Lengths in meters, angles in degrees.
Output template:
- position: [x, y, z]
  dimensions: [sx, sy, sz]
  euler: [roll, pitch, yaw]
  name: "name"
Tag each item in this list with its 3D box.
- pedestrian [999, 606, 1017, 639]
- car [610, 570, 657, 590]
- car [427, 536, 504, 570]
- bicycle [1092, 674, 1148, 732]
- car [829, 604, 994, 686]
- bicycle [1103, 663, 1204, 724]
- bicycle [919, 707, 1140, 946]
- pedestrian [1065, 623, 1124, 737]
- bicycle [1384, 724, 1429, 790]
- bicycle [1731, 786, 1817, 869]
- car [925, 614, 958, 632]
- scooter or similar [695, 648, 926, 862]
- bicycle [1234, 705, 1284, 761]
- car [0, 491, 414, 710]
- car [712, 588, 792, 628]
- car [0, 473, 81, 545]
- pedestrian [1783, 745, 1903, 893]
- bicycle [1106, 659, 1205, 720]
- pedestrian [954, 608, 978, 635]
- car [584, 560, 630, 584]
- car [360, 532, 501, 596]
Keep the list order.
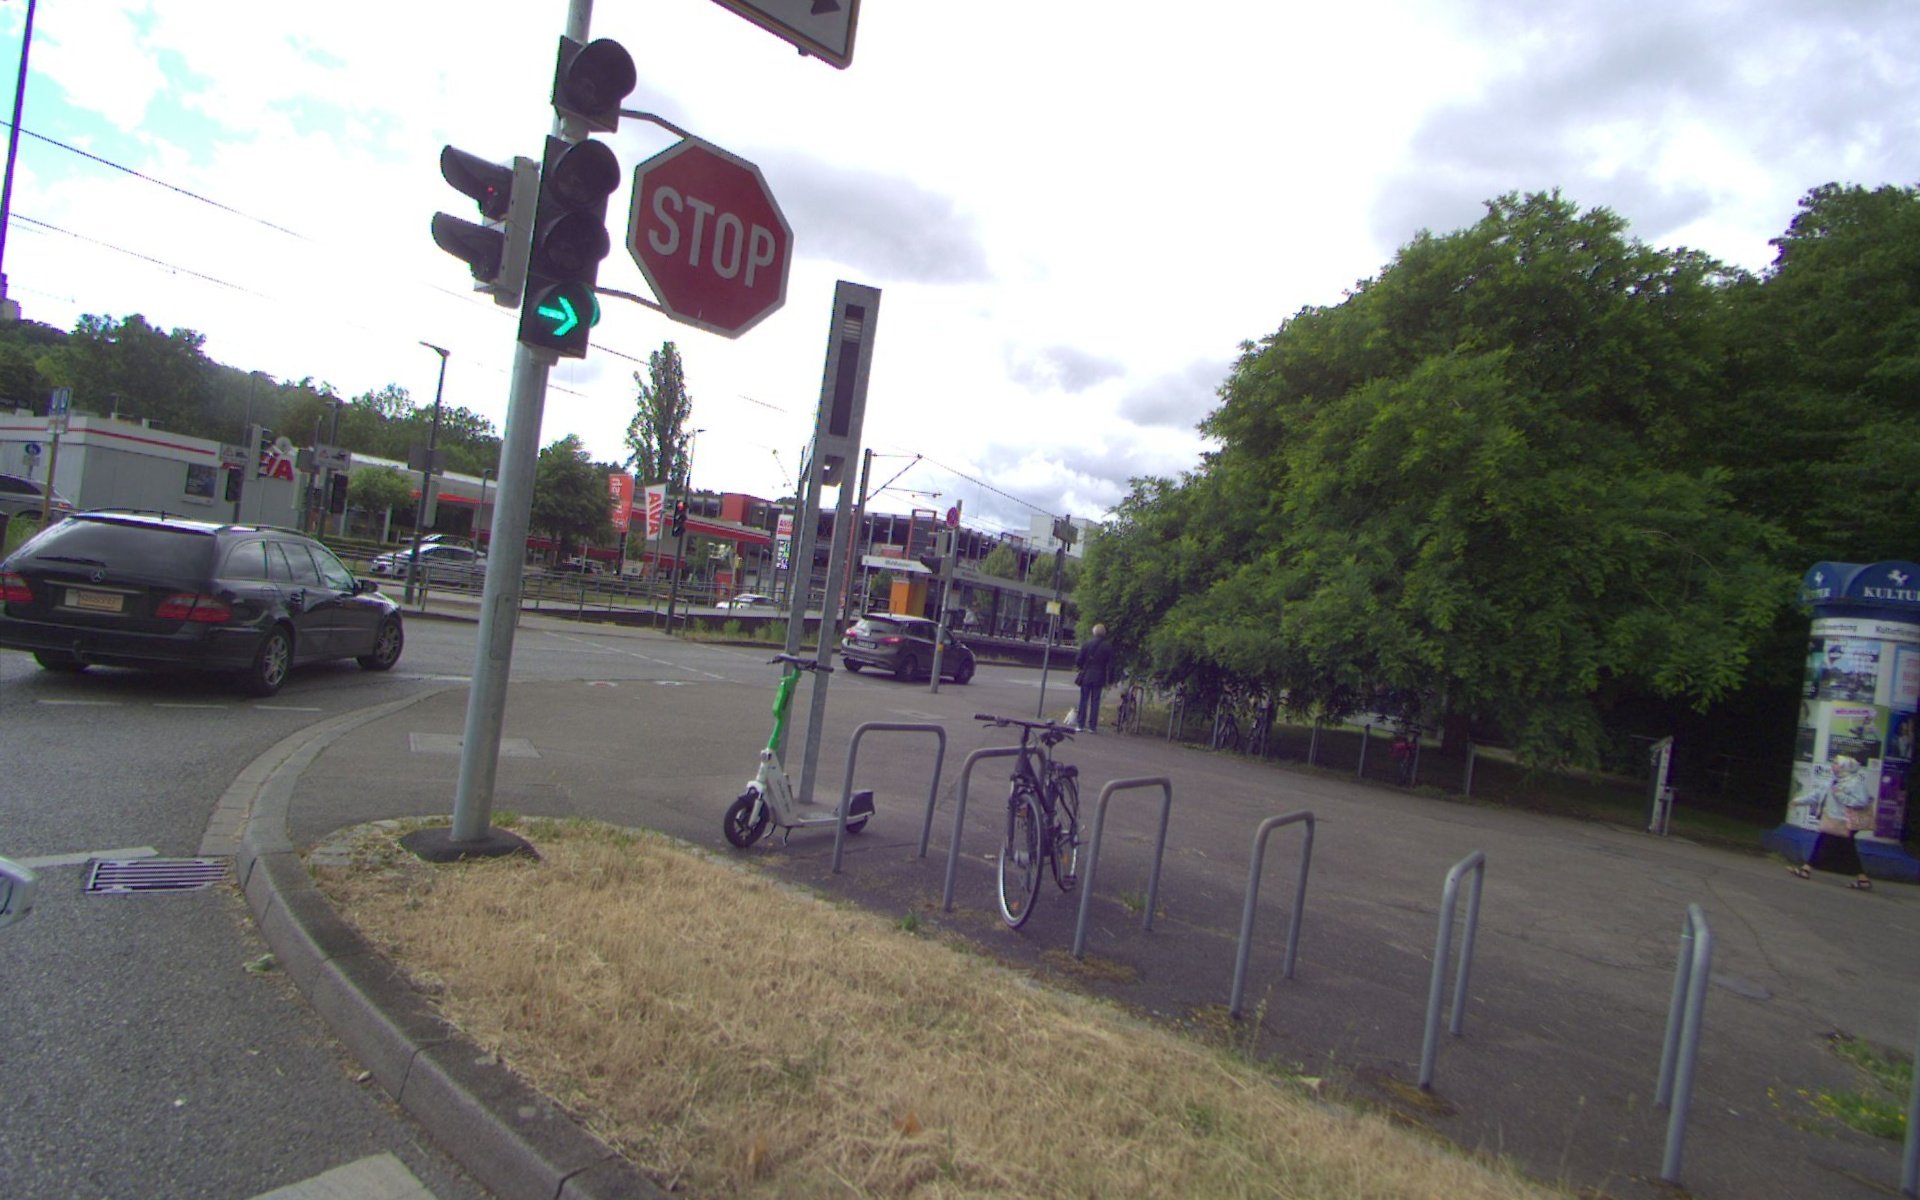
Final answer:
- position: [2.594, 1.212, 54.234]
  dimensions: [0.562, 1.639, 0.585]
  euler: [7, -1, 32]
  name: "pedestrian"
- position: [-32.078, -1.974, 98.803]
  dimensions: [1.883, 1.381, 4.055]
  euler: [6, -2, 30]
  name: "car"
- position: [-28.937, -2.708, 58.926]
  dimensions: [1.592, 1.365, 3.629]
  euler: [8, -1, 33]
  name: "car"
- position: [2.924, 1.839, 18.224]
  dimensions: [0.514, 0.917, 1.851]
  euler: [7, 0, 22]
  name: "bicycle"
- position: [-1.096, 1.175, 25.046]
  dimensions: [1.800, 1.548, 4.410]
  euler: [9, 0, 31]
  name: "car"
- position: [3.913, 1.888, 20.365]
  dimensions: [1.842, 0.935, 0.544]
  euler: [7, -1, 33]
  name: "bicycle"
- position: [0.475, 1.207, 5.832]
  dimensions: [0.597, 1.057, 1.701]
  euler: [8, -1, 25]
  name: "bicycle"
- position: [2.227, 1.310, 16.683]
  dimensions: [0.677, 1.774, 0.420]
  euler: [9, 0, 5]
  name: "pedestrian"
- position: [7.137, 2.475, 16.055]
  dimensions: [0.469, 0.866, 1.738]
  euler: [9, 0, 26]
  name: "bicycle"
- position: [11.379, 3.157, 14.101]
  dimensions: [0.469, 0.866, 1.657]
  euler: [9, 0, 26]
  name: "bicycle"
- position: [-2.089, 2.632, 114.693]
  dimensions: [1.753, 1.557, 3.995]
  euler: [6, -2, 31]
  name: "car"
- position: [-0.906, 0.941, 6.342]
  dimensions: [0.644, 1.125, 1.229]
  euler: [8, -1, 34]
  name: "scooter or similar"
- position: [5.105, 2.241, 17.119]
  dimensions: [0.469, 0.817, 1.514]
  euler: [9, 0, 26]
  name: "bicycle"
- position: [-7.193, -0.004, 9.999]
  dimensions: [1.810, 1.495, 4.405]
  euler: [8, -1, -13]
  name: "car"
- position: [-10.400, 0.433, 50.547]
  dimensions: [1.606, 1.471, 3.823]
  euler: [8, -1, 33]
  name: "car"
- position: [-26.275, -2.665, 26.106]
  dimensions: [1.649, 1.661, 4.847]
  euler: [8, -2, 33]
  name: "car"
- position: [10.477, 2.571, 11.961]
  dimensions: [0.742, 1.531, 0.671]
  euler: [8, -1, 22]
  name: "pedestrian"
- position: [4.178, 1.916, 21.624]
  dimensions: [0.588, 0.950, 2.018]
  euler: [8, 0, -43]
  name: "bicycle"
- position: [0.294, 1.060, 49.561]
  dimensions: [0.759, 1.203, 0.726]
  euler: [8, -1, 35]
  name: "pedestrian"
- position: [-35.892, -2.805, 102.440]
  dimensions: [1.883, 1.772, 4.055]
  euler: [6, -2, 30]
  name: "car"
- position: [-19.270, -1.285, 36.809]
  dimensions: [1.722, 1.660, 4.117]
  euler: [8, -1, 33]
  name: "car"
